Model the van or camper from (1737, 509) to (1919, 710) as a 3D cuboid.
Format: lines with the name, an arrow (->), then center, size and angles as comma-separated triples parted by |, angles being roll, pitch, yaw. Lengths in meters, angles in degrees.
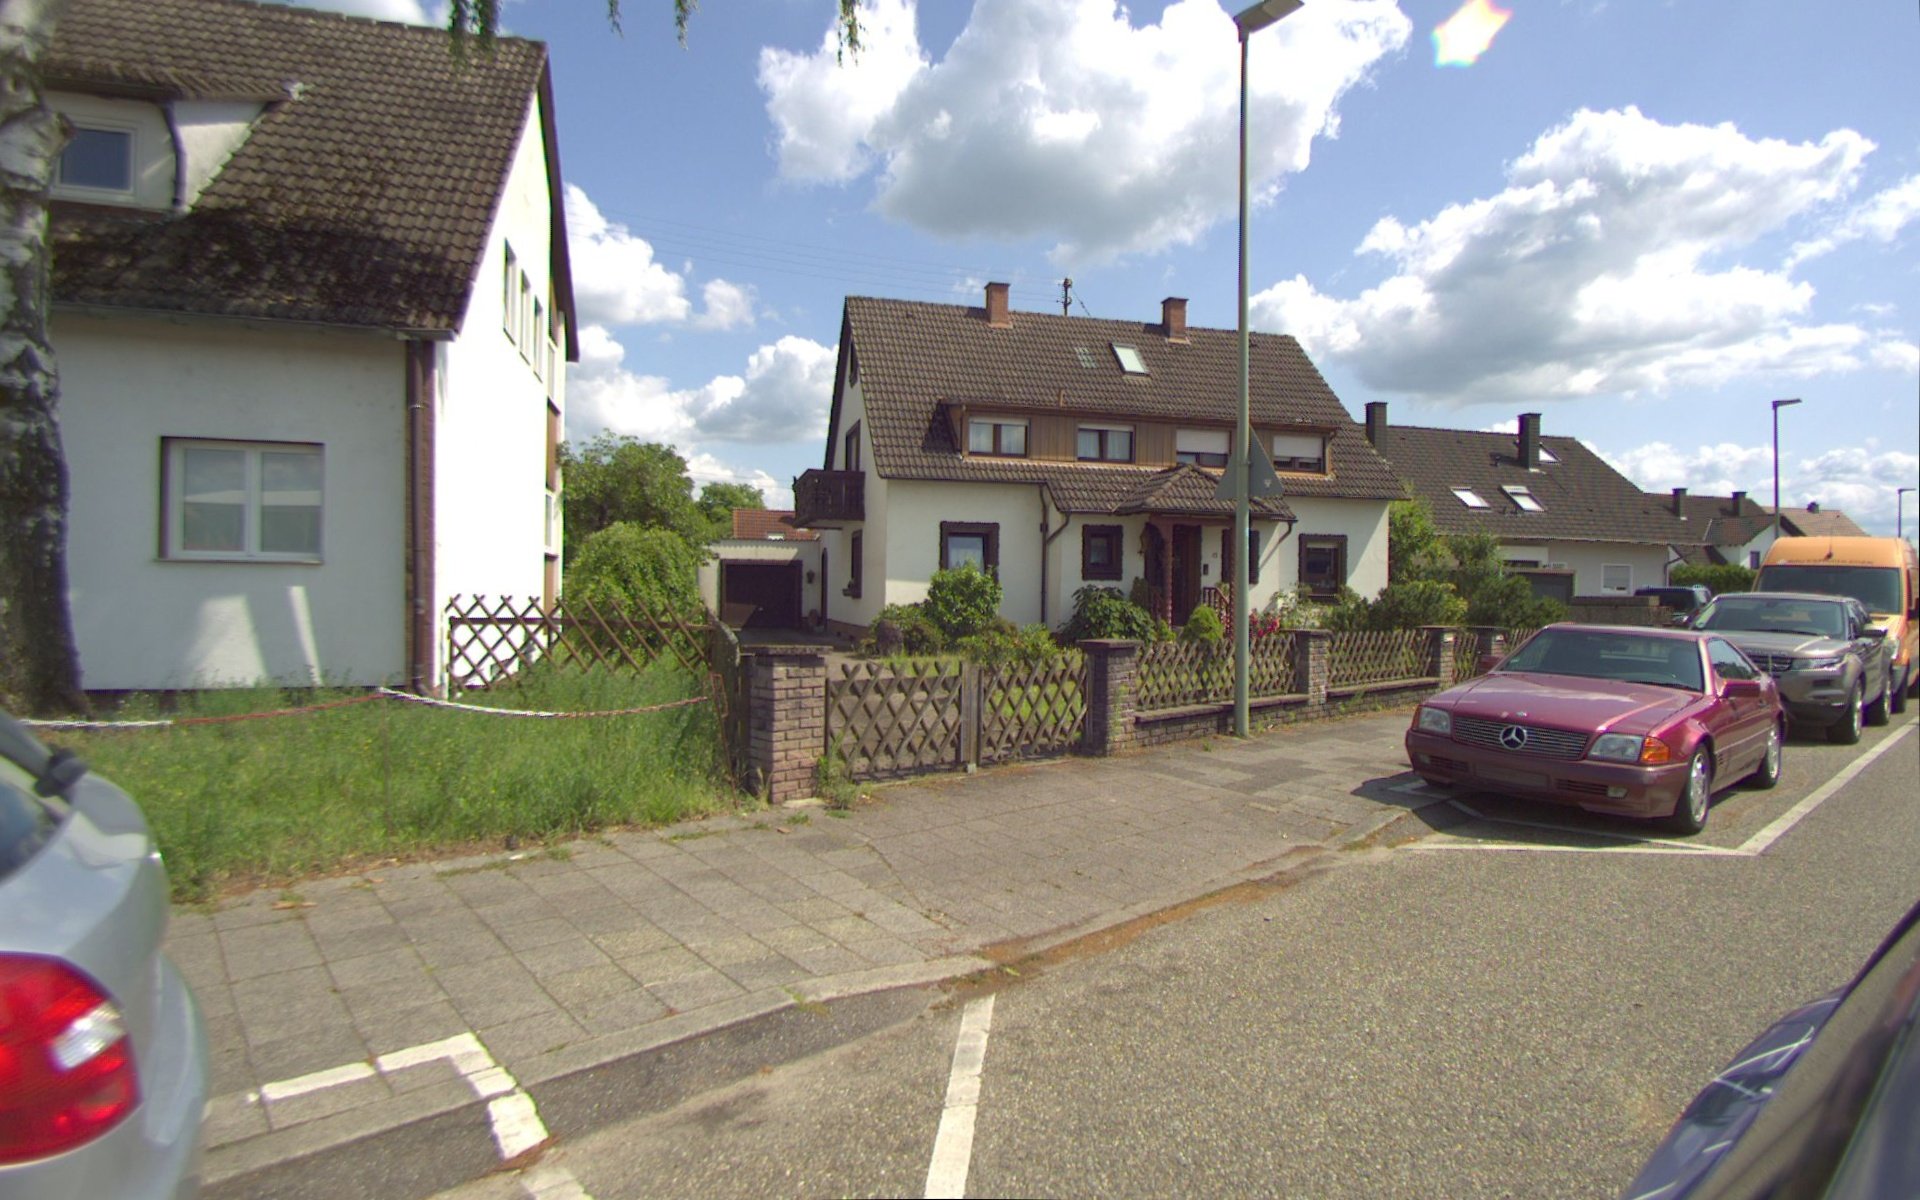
van or camper -> 14.273, 0.127, 16.254 | 5.673, 2.698, 1.995 | 0, 0, -44

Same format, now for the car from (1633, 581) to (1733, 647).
car -> 22.498, 0.397, 31.401 | 1.857, 1.889, 4.941 | 1, 0, 43

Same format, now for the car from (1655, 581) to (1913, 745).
car -> 10.167, 0.639, 12.375 | 4.166, 1.660, 1.835 | 0, 0, -42

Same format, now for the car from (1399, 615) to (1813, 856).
car -> 5.277, 0.823, 8.002 | 4.361, 1.352, 1.671 | 0, 0, -42

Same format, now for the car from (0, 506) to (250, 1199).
car -> -2.990, 0.688, 0.739 | 3.929, 1.601, 1.613 | 0, -1, -40

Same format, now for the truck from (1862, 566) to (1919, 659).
truck -> 26.883, 0.362, 27.683 | 5.792, 2.327, 2.527 | 0, 3, -41
